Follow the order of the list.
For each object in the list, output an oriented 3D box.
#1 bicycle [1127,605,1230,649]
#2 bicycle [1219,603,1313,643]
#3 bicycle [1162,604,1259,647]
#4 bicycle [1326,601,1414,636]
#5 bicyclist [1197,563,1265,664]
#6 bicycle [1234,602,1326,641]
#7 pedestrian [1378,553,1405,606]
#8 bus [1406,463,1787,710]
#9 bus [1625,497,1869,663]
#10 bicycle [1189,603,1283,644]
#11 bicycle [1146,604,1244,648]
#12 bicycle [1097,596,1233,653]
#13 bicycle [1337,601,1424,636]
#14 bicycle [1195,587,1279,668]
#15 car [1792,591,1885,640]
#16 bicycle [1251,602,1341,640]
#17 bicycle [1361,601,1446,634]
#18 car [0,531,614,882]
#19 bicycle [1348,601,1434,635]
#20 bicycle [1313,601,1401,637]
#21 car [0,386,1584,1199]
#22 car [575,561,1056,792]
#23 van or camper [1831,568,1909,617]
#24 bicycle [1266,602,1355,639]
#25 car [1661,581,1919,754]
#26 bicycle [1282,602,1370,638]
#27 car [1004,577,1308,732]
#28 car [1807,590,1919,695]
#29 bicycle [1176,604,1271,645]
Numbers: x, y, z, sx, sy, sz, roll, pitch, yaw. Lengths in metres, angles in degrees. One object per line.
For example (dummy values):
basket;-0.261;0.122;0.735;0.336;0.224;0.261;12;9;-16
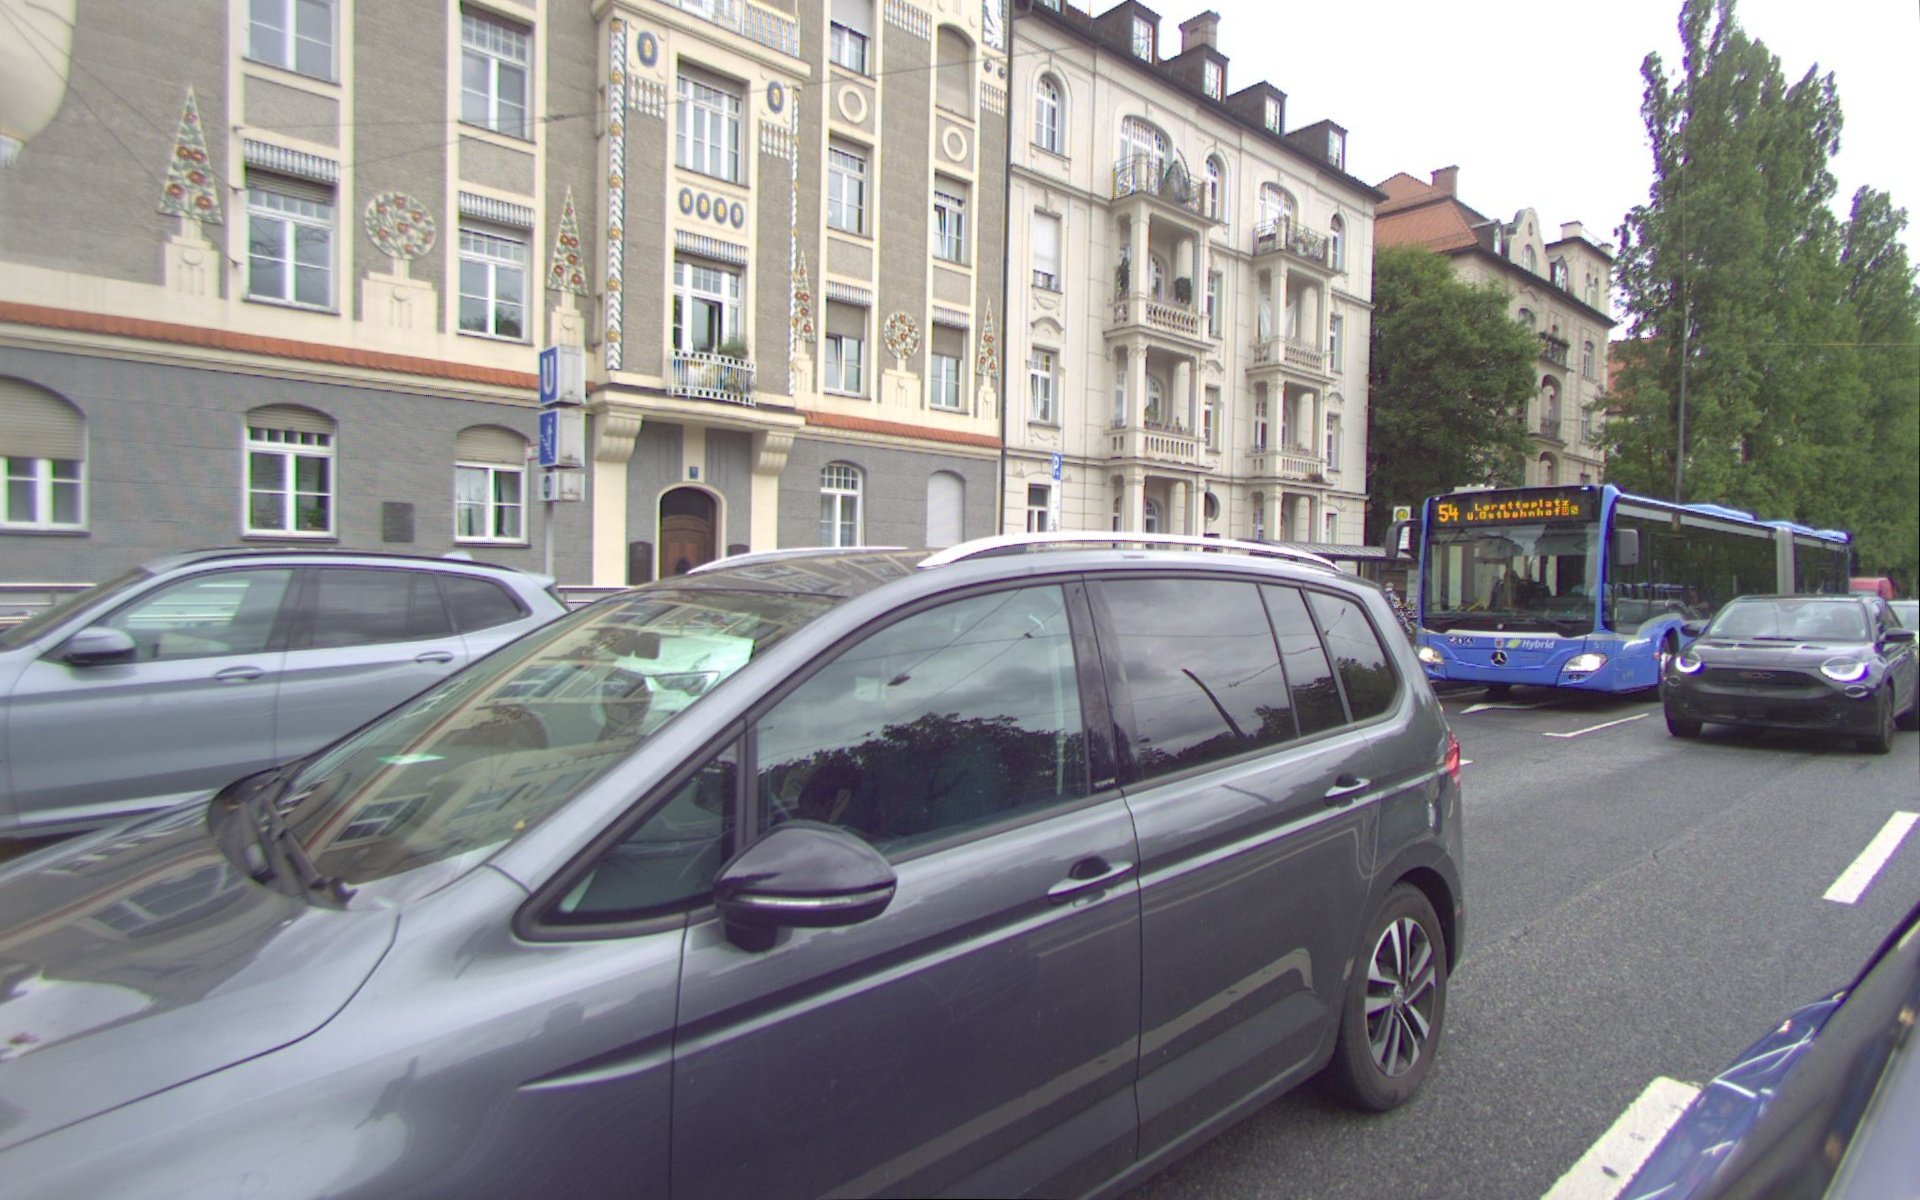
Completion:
bicycle;5.036;0.603;23.460;2.312;0.932;0.579;1;1;38
bicycle;7.859;0.565;26.076;0.629;0.932;2.319;-1;1;-43
bicycle;6.019;0.589;24.462;0.629;0.932;2.319;-1;1;-43
bicycle;11.785;0.522;29.155;0.590;0.932;2.319;-1;1;-43
bicyclist;4.550;0.205;16.998;0.923;1.623;0.681;0;2;-41
bicycle;8.427;0.557;26.733;0.629;0.932;2.319;-1;1;-43
pedestrian;15.602;-0.744;36.588;0.661;1.919;0.609;0;2;-39
bus;10.705;-0.200;16.420;9.300;3.011;2.635;0;0;-41
bus;17.433;-0.401;22.149;8.384;3.011;2.635;0;0;-41
bicycle;6.981;0.573;25.711;0.629;0.932;2.319;-1;1;-43
bicycle;5.538;0.596;23.954;0.629;0.932;2.319;-1;1;-43
bicycle;4.446;0.502;22.136;2.899;1.162;0.633;1;1;33
bicycle;12.242;0.517;29.514;0.590;0.932;2.319;-1;1;-43
bicycle;4.688;0.437;17.076;1.747;1.304;0.424;-1;2;-40
car;27.515;0.452;31.668;3.569;1.385;1.703;0;3;-42
bicycle;9.044;0.549;27.300;0.590;0.932;2.319;-1;1;-43
bicycle;13.277;0.504;30.354;0.590;0.932;2.319;-1;1;-43
car;-4.593;0.469;6.098;4.425;1.681;1.736;-1;4;-42
bicycle;12.709;0.511;29.905;0.590;0.932;2.319;-1;1;-43
bicycle;11.237;0.529;28.706;0.590;0.932;2.319;-1;1;-43
car;-0.196;0.584;2.711;4.624;1.667;1.776;0;3;-40
car;-1.152;0.500;8.982;3.896;1.596;1.730;0;2;-39
van or camper;42.498;-0.384;47.215;5.420;2.124;2.122;0;2;-42
bicycle;9.633;0.541;27.874;0.590;0.932;2.319;-1;1;-43
car;9.162;0.589;10.873;3.901;1.523;1.778;0;0;-41
bicycle;10.203;0.534;28.305;0.590;0.932;2.319;-1;1;-43
car;2.448;0.529;12.199;3.678;1.527;1.729;0;3;-42
car;14.639;0.581;15.668;4.171;1.451;1.702;0;0;-41
bicycle;6.516;0.580;25.166;0.629;0.932;2.319;-1;1;-43
